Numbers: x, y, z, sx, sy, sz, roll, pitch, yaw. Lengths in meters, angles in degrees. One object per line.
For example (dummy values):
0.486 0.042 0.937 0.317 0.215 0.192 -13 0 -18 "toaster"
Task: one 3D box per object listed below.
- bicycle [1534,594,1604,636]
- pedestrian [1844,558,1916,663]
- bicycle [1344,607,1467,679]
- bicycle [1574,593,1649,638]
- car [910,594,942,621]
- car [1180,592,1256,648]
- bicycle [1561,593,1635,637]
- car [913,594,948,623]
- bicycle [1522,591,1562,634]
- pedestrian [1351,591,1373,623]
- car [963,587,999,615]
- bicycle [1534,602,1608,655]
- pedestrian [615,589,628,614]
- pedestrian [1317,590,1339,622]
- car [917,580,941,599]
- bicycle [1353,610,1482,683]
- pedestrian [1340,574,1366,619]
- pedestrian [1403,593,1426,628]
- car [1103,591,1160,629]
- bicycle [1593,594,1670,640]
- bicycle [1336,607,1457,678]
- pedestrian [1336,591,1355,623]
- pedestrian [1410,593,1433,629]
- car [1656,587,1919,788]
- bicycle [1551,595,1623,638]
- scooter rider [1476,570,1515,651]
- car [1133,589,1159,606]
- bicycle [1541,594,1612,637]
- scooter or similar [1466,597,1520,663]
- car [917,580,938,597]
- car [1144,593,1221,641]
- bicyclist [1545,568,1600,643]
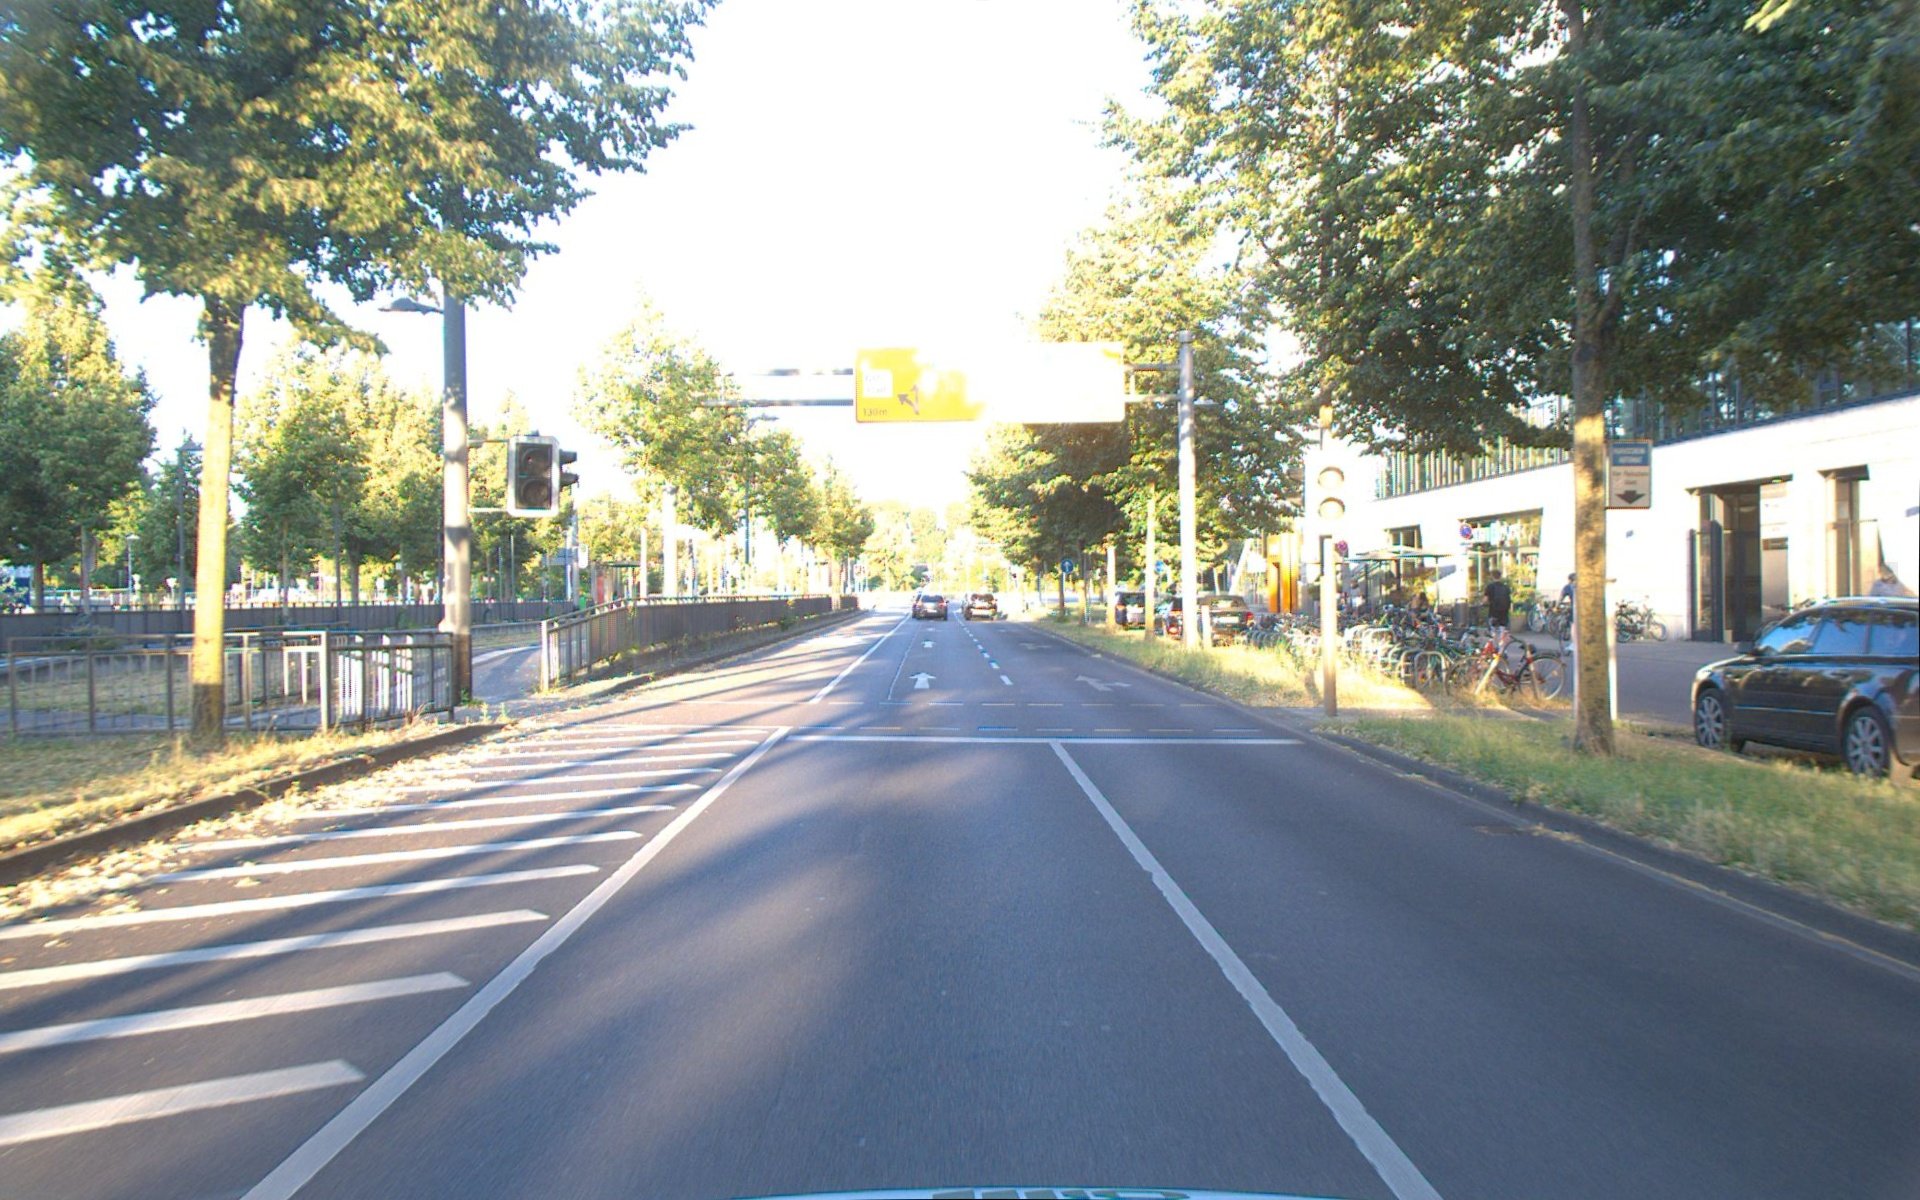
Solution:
16.653 0.412 45.232 1.749 1.123 0.508 -1 0 -6 "bicycle"
15.069 0.171 27.106 0.630 1.677 0.953 -1 0 -2 "pedestrian"
7.305 0.709 27.140 1.906 1.072 0.408 3 0 -9 "bicycle"
16.778 0.389 42.580 1.749 1.123 0.508 -1 0 -6 "bicycle"
-2.016 0.439 97.889 1.873 1.512 3.999 -1 0 -2 "car"
7.289 0.540 47.011 1.543 1.498 3.881 -1 0 0 "car"
16.656 0.399 43.197 1.749 1.123 0.508 -1 0 -6 "bicycle"
-1.658 0.452 91.343 1.873 1.512 3.999 -1 0 -2 "car"
17.267 0.352 49.106 0.460 1.229 2.264 -1 0 3 "bicycle"
16.726 0.287 68.784 0.570 1.305 0.735 -1 0 -19 "pedestrian"
1.158 0.032 93.081 1.873 1.512 3.999 0 0 -2 "car"
13.295 0.614 36.064 0.756 1.098 2.062 -1 0 -3 "bicycle"
-18.235 0.070 89.169 0.602 1.342 0.744 -1 0 -4 "pedestrian"
15.364 0.261 69.083 0.617 1.305 0.712 -1 0 -22 "pedestrian"
-2.525 -0.820 132.247 1.873 1.512 3.999 -1 0 -2 "car"
7.351 0.743 26.602 1.906 1.072 0.544 3 0 -9 "bicycle"
15.509 -0.133 65.233 0.696 1.767 0.682 -1 0 -31 "pedestrian"
15.947 0.351 58.087 0.560 1.216 0.806 -1 0 -1 "pedestrian"
7.123 0.400 69.116 1.722 1.491 4.156 -1 0 -3 "car"
16.719 0.411 41.186 1.749 1.123 0.508 -1 0 -6 "bicycle"
7.282 0.705 27.583 1.906 1.072 0.408 3 0 -9 "bicycle"
16.012 0.276 68.742 0.567 1.305 0.738 -1 0 -5 "pedestrian"
15.932 0.367 57.144 0.559 1.216 0.807 -1 0 1 "pedestrian"
7.850 0.621 14.147 1.830 1.436 4.646 -1 0 0 "car"
16.630 0.434 43.867 1.749 1.123 0.508 -1 0 -6 "bicycle"
11.219 0.215 34.665 0.515 1.667 0.831 -1 0 -3 "scooter rider"
20.590 -0.291 183.124 1.952 1.758 4.001 -1 0 20 "car"
16.654 0.421 44.676 1.749 1.123 0.508 -1 0 -6 "bicycle"
11.205 0.613 34.799 0.515 1.333 1.663 -1 0 -3 "scooter or similar"
-2.951 -1.025 149.219 1.873 1.512 3.999 -1 0 -2 "car"
7.236 0.534 54.070 1.742 1.498 4.286 -1 0 -3 "car"
13.282 0.117 35.891 0.756 1.594 0.991 -1 0 -3 "bicyclist"
